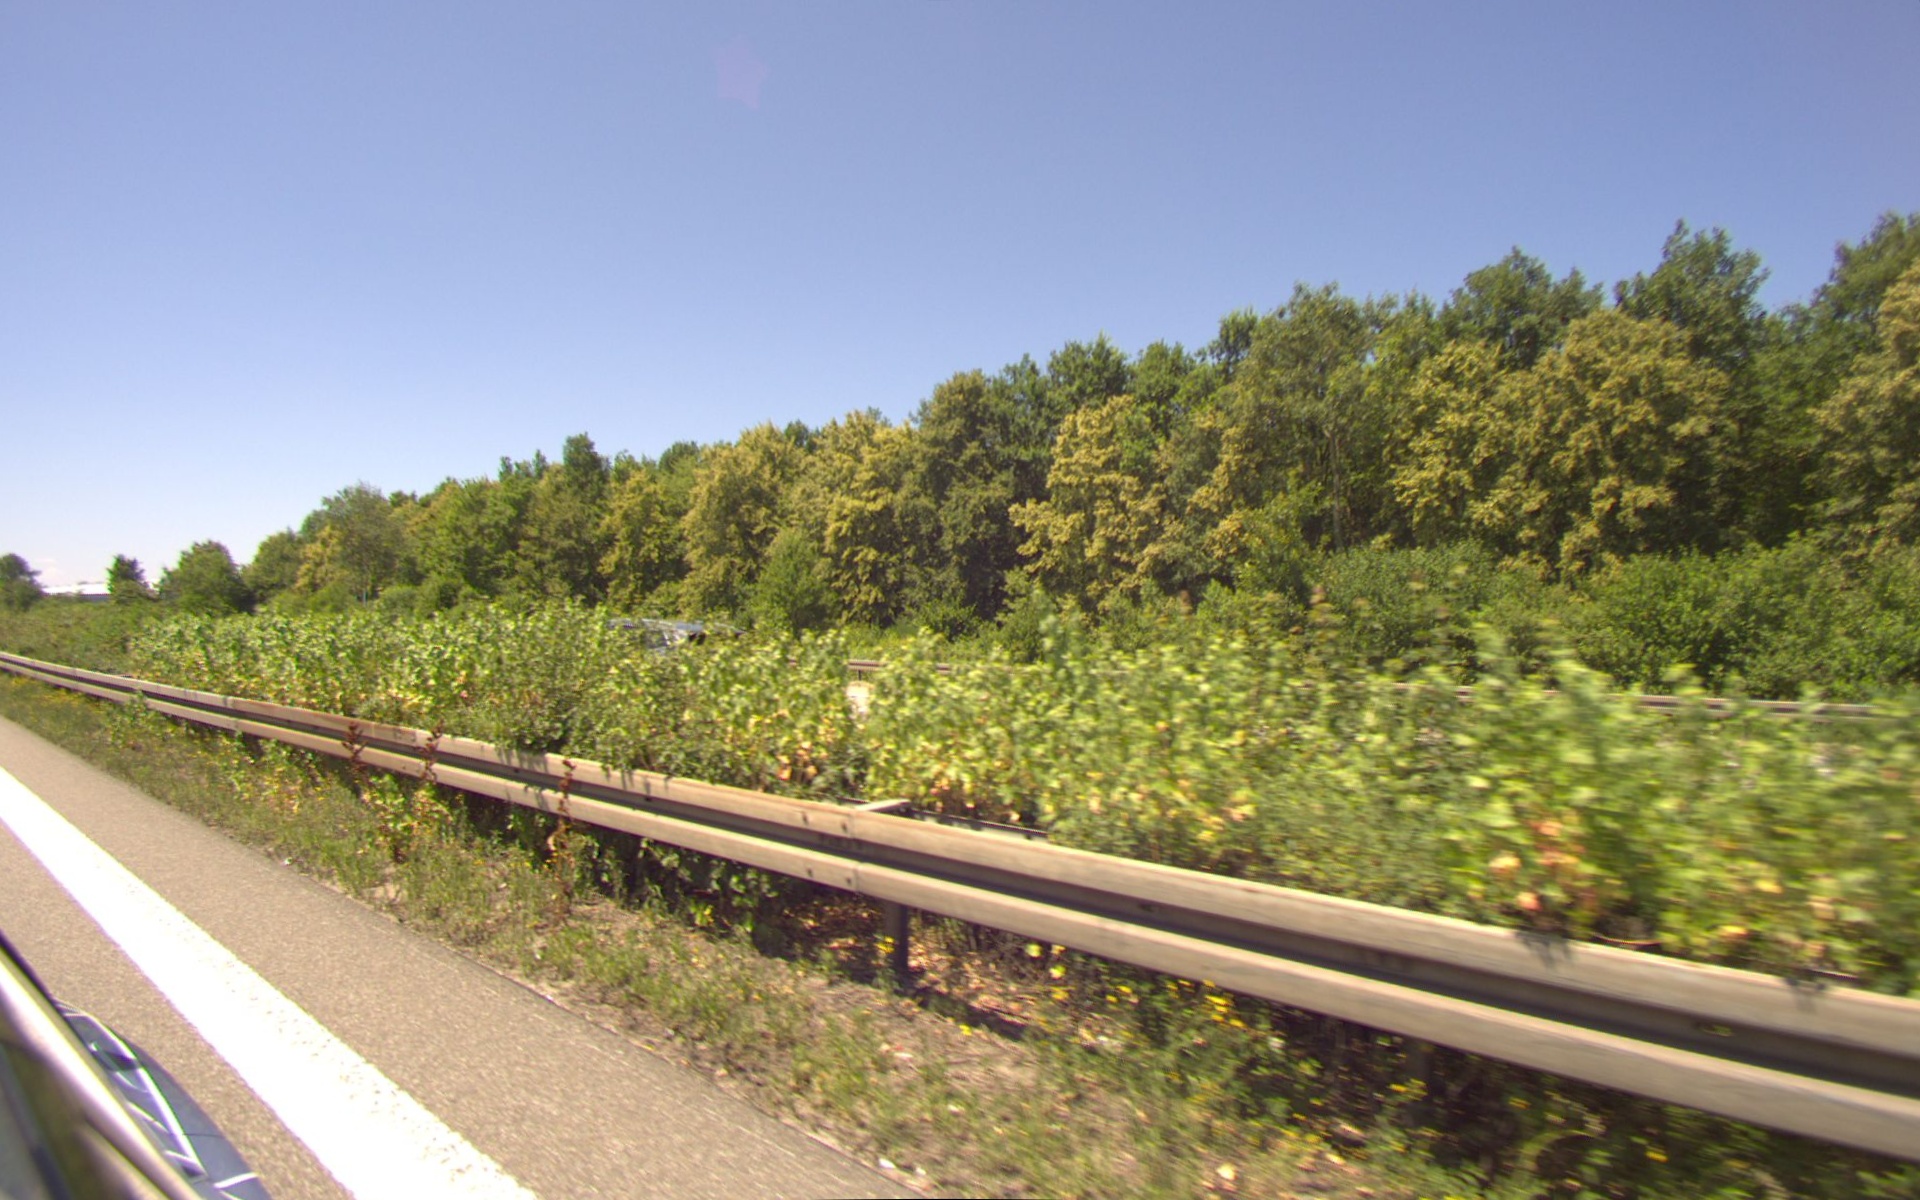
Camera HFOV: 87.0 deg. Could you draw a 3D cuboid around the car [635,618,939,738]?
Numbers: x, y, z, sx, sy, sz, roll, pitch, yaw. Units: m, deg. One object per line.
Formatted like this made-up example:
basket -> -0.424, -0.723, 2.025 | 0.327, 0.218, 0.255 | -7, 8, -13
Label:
car -> -2.276, 0.876, 12.683 | 3.998, 1.266, 1.606 | -1, -2, 41
